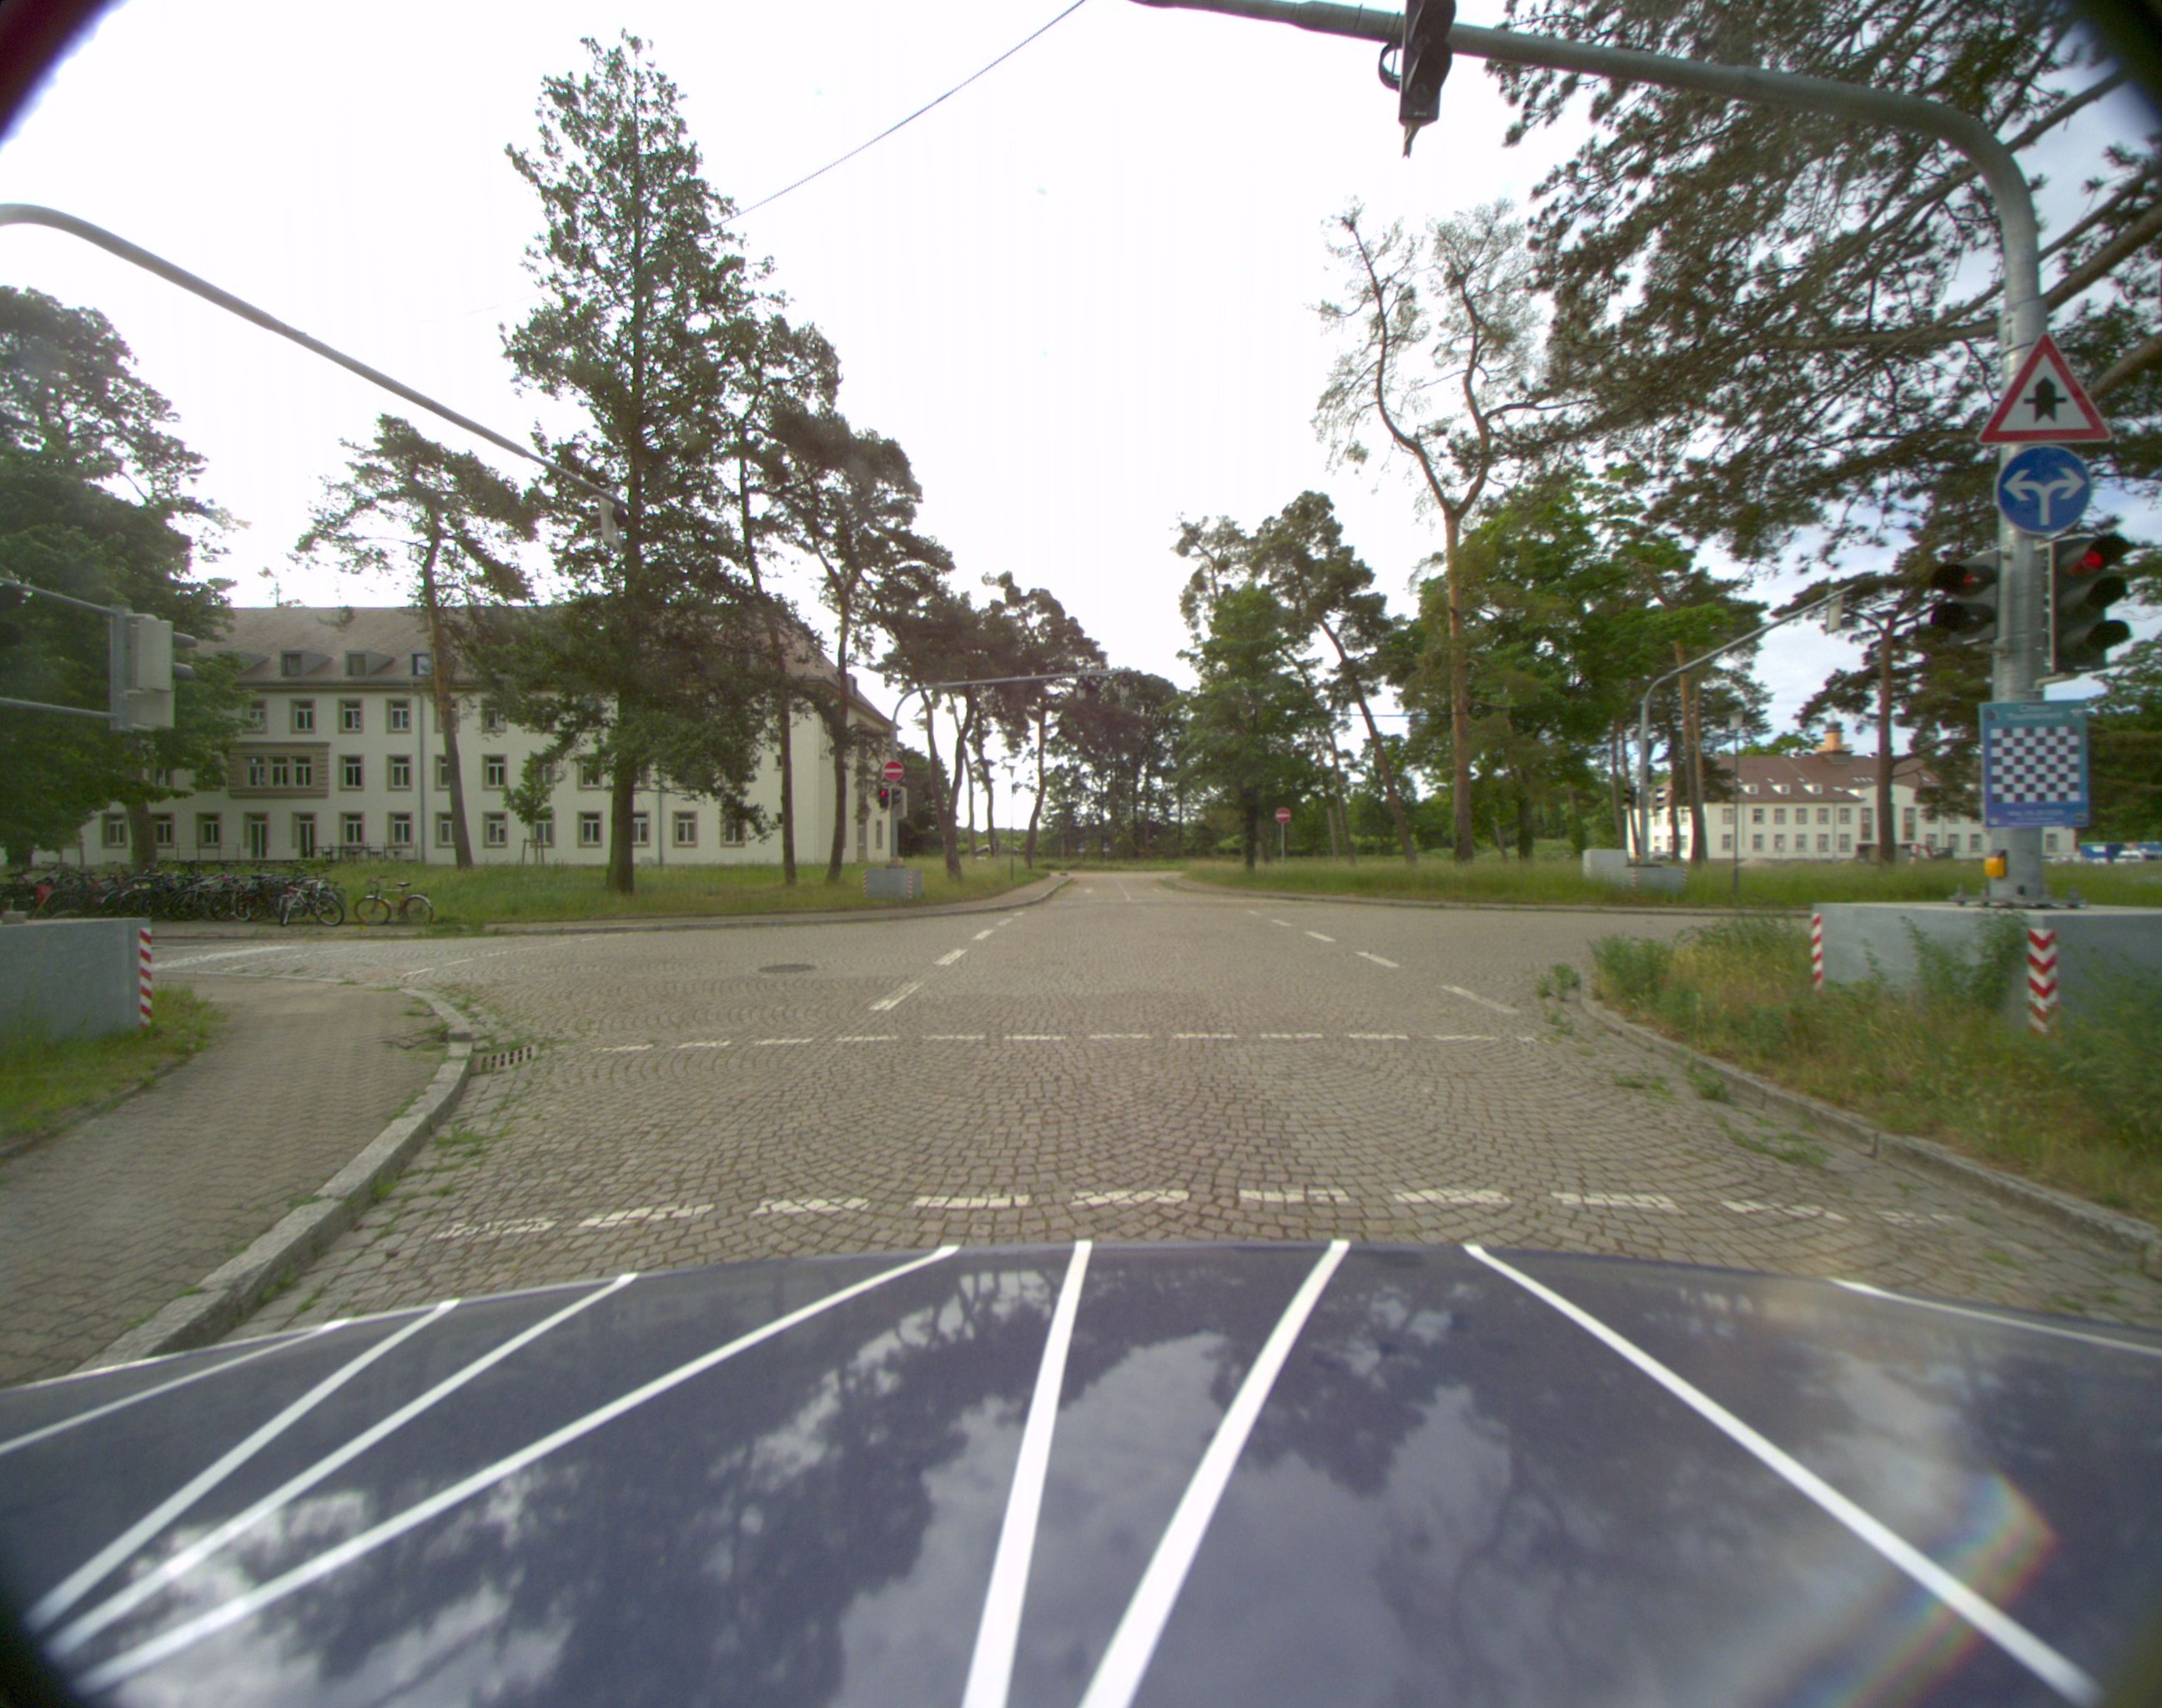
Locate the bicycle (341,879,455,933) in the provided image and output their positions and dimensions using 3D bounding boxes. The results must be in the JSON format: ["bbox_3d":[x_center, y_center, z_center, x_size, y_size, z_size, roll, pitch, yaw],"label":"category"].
[{"bbox_3d":[-14.689,1.113,16.368,1.986,1.107,0.624,-1,0,5],"label":"bicycle"}]

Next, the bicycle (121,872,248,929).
[{"bbox_3d":[-21.051,1.067,17.914,0.624,1.240,1.989,-1,-1,0],"label":"bicycle"}]

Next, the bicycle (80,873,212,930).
[{"bbox_3d":[-21.931,1.076,17.887,0.624,1.240,1.989,-1,-1,0],"label":"bicycle"}]

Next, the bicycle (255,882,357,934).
[{"bbox_3d":[-16.645,1.148,16.333,1.675,1.076,0.624,-1,0,6],"label":"bicycle"}]

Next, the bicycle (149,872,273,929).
[{"bbox_3d":[-20.419,1.061,17.898,0.624,1.240,1.989,-1,-1,0],"label":"bicycle"}]

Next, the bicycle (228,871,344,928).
[{"bbox_3d":[-18.634,1.043,17.884,0.624,1.240,1.989,-1,-1,0],"label":"bicycle"}]

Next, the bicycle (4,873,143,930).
[{"bbox_3d":[-23.661,1.093,17.916,0.624,1.240,1.989,-1,-1,0],"label":"bicycle"}]

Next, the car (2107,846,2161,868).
[{"bbox_3d":[113.431,0.305,81.323,4.443,2.350,1.864,-1,0,2],"label":"car"}]

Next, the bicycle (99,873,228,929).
[{"bbox_3d":[-21.575,1.073,17.938,0.624,1.240,1.989,-1,-1,0],"label":"bicycle"}]

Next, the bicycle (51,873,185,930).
[{"bbox_3d":[-22.653,1.083,17.938,0.624,1.240,1.989,-1,-1,0],"label":"bicycle"}]

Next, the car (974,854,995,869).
[{"bbox_3d":[-9.352,0.713,73.902,1.487,1.428,3.196,-1,-1,3],"label":"car"}]

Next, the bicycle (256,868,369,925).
[{"bbox_3d":[-18.006,0.958,17.874,0.624,1.240,1.989,-1,-1,0],"label":"bicycle"}]

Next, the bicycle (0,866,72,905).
[{"bbox_3d":[-32.571,0.957,23.566,0.400,1.118,1.554,0,0,4],"label":"bicycle"}]

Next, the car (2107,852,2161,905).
[{"bbox_3d":[30.754,0.741,20.122,1.696,1.421,4.012,0,3,1],"label":"car"}]

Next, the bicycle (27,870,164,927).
[{"bbox_3d":[-23.168,1.010,17.924,0.624,1.240,1.989,-1,-1,0],"label":"bicycle"}]

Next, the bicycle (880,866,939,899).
[{"bbox_3d":[-5.352,0.880,23.769,1.675,0.965,0.582,2,3,6],"label":"bicycle"}]

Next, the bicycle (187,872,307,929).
[{"bbox_3d":[-19.560,1.052,17.884,0.624,1.240,1.989,-1,-1,0],"label":"bicycle"}]

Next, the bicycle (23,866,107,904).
[{"bbox_3d":[-31.344,0.946,23.468,0.400,1.118,1.554,0,0,4],"label":"bicycle"}]

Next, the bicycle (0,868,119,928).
[{"bbox_3d":[-24.321,1.006,17.926,0.624,1.241,1.988,-1,2,0],"label":"bicycle"}]
